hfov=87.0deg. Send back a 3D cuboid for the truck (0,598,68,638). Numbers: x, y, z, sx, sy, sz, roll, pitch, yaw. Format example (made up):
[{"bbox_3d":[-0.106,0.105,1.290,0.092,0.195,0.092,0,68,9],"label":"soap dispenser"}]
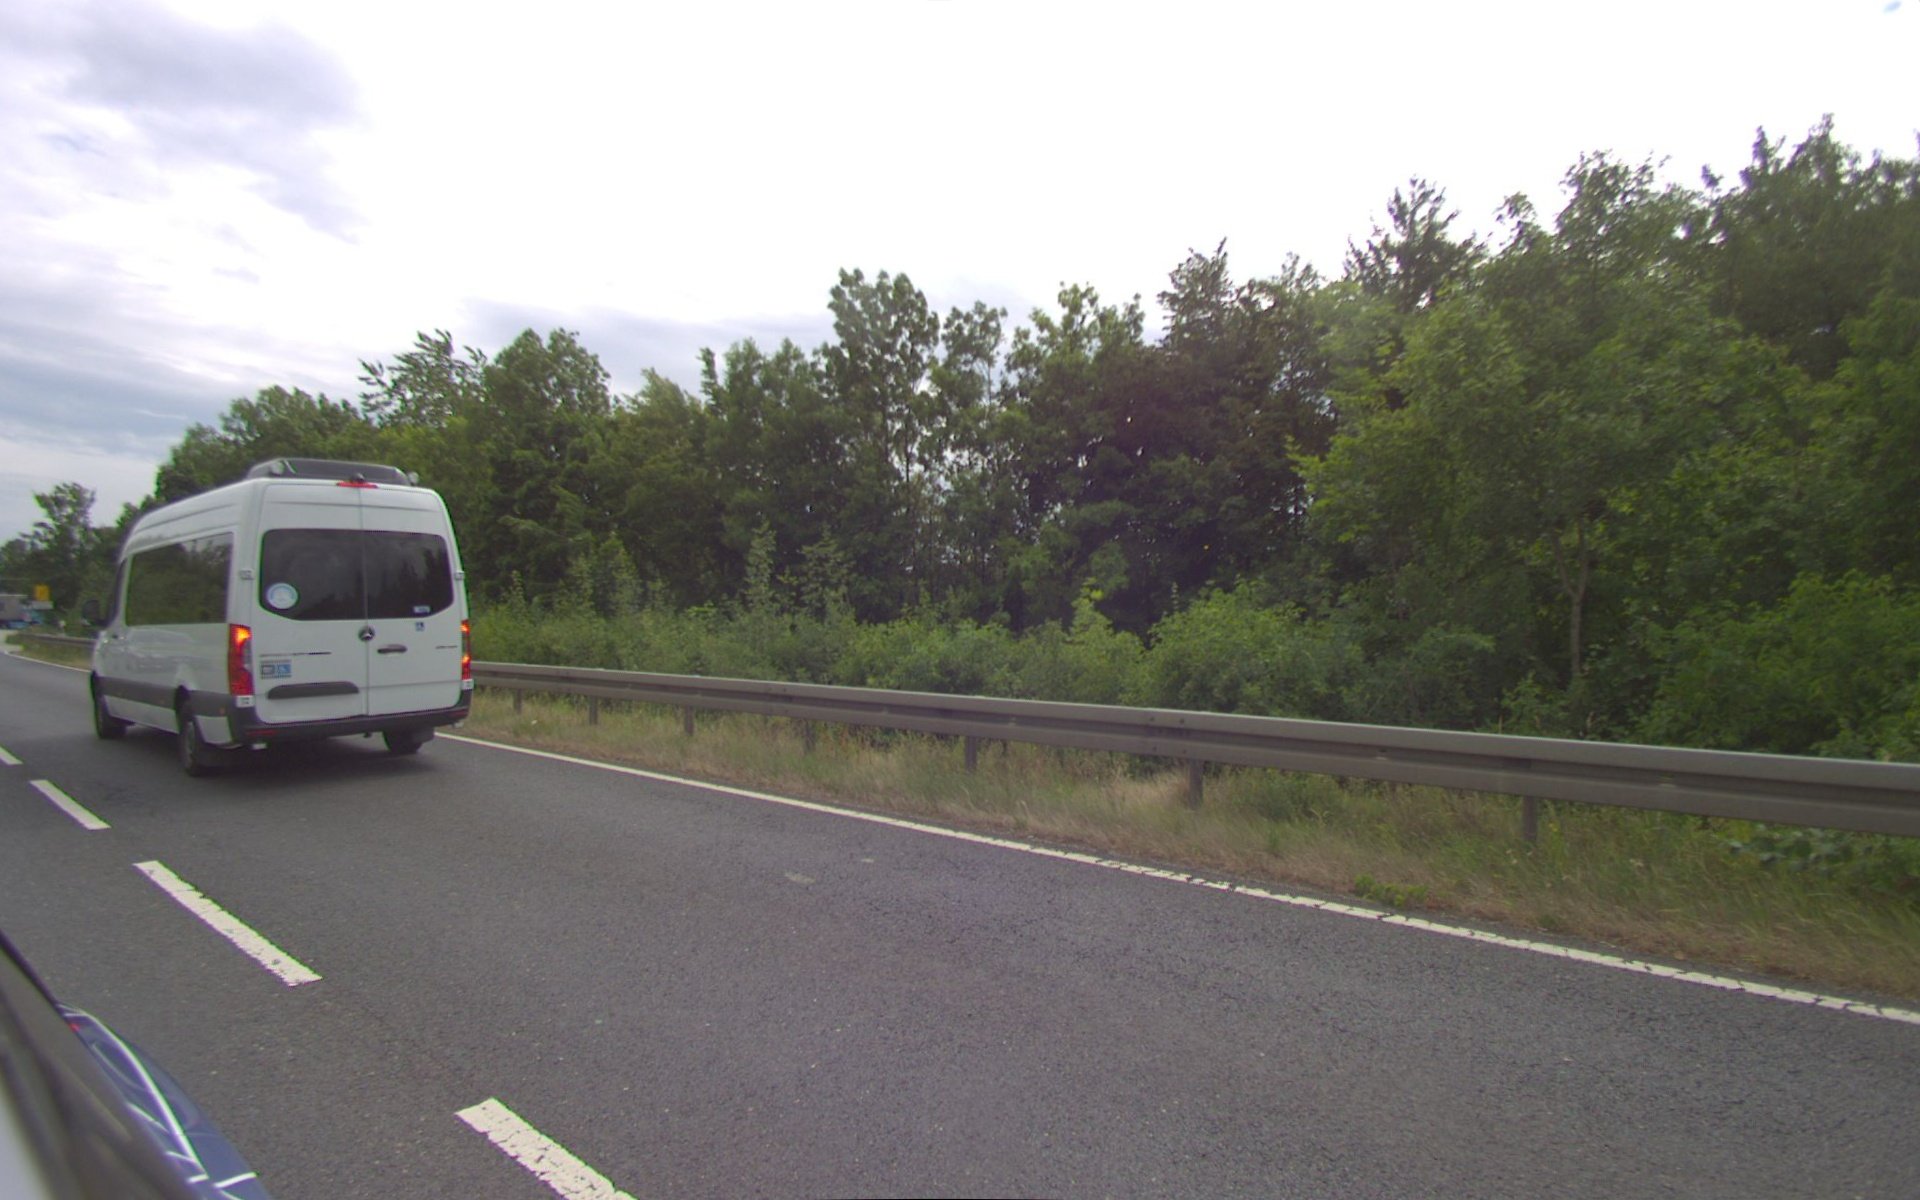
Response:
[{"bbox_3d":[-109.963,2.086,118.020,9.447,4.383,3.025,2,-2,4],"label":"truck"}]

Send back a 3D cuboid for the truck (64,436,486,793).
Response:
[{"bbox_3d":[-7.710,0.182,10.914,7.002,2.763,2.044,-2,-1,41],"label":"truck"}]
